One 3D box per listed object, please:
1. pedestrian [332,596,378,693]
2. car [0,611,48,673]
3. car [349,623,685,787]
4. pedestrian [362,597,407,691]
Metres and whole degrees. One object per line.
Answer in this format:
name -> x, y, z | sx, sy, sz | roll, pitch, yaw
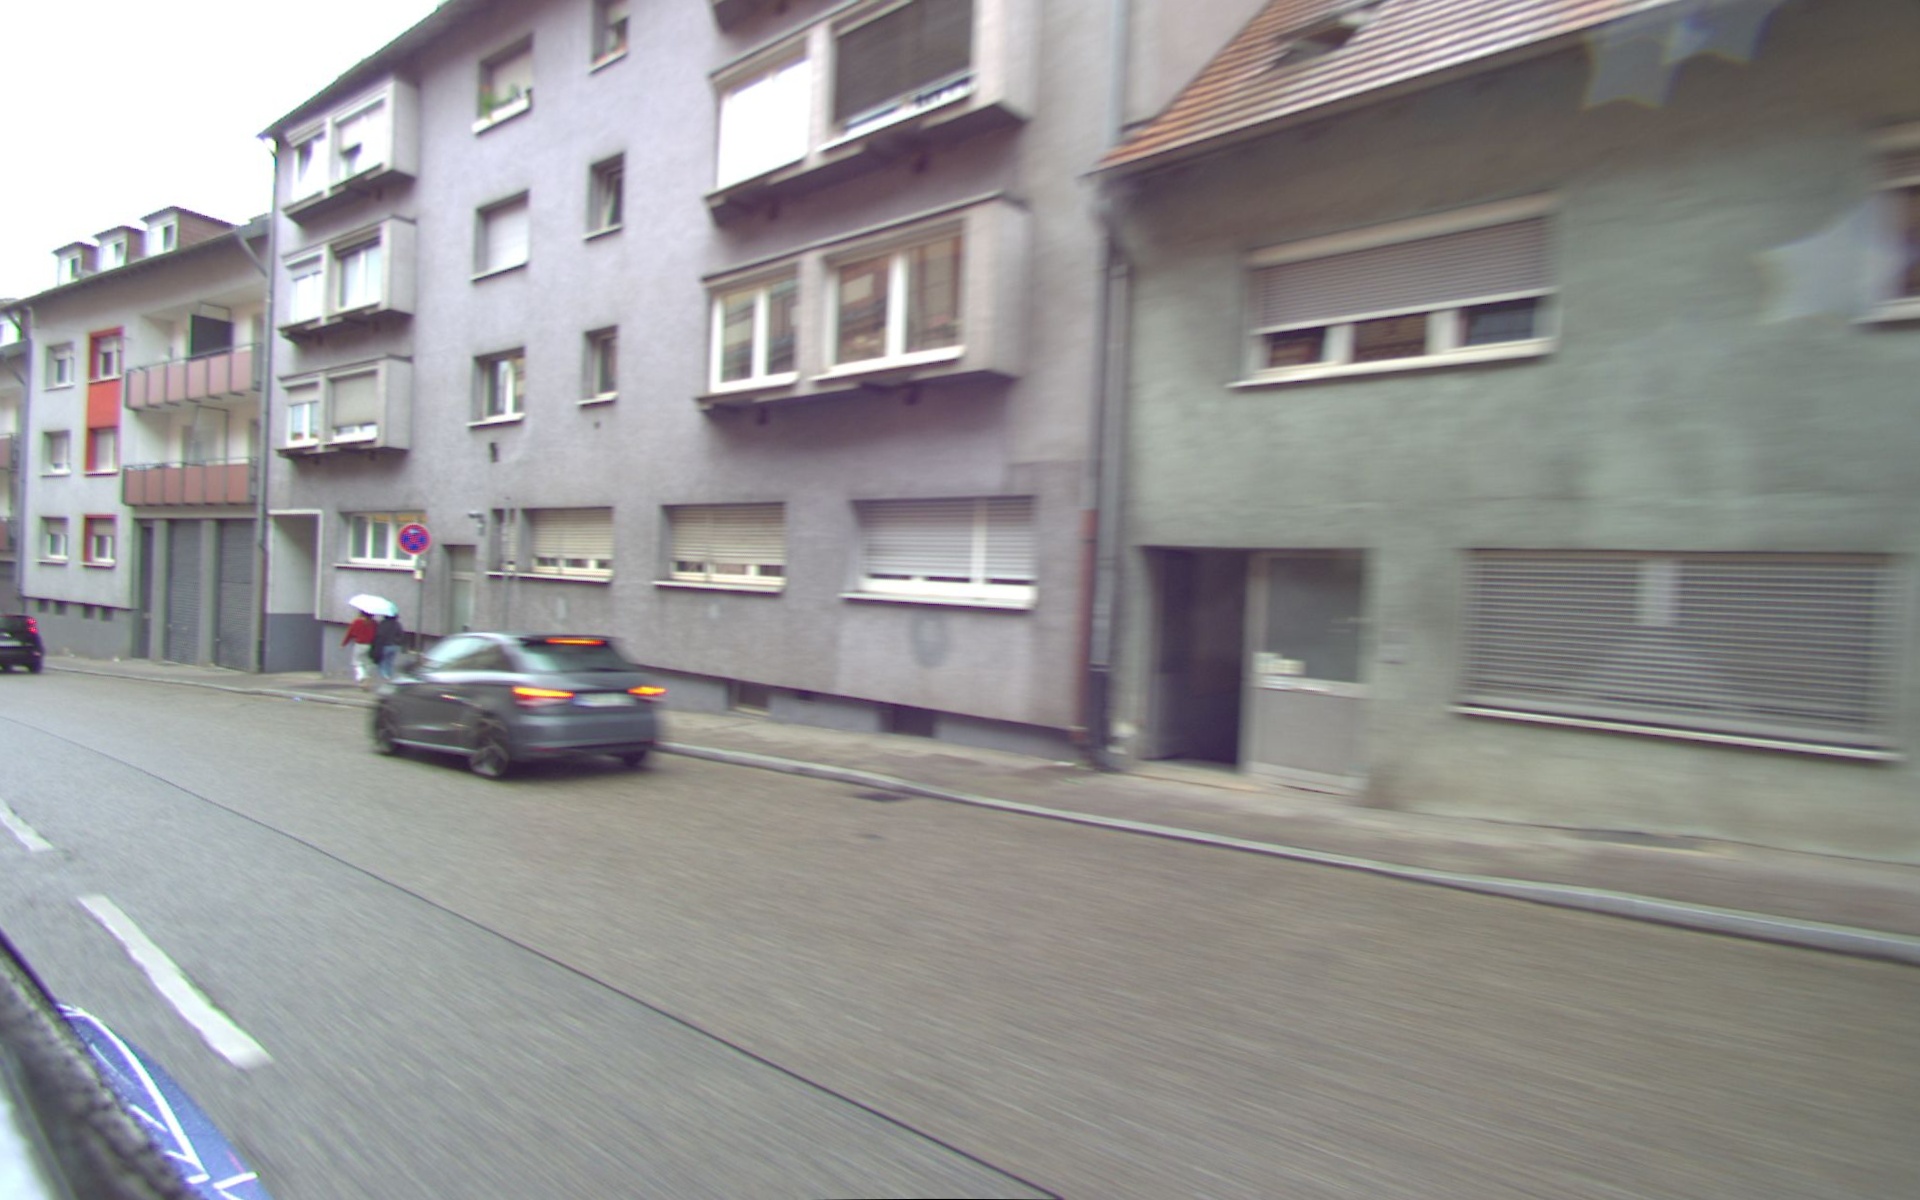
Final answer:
pedestrian -> -11.446, 0.837, 19.151 | 0.621, 1.789, 0.518 | -2, -3, 36
car -> -24.750, 1.056, 25.603 | 3.366, 1.508, 1.631 | -1, -4, 33
car -> -4.699, 0.983, 10.517 | 3.847, 1.389, 1.628 | -2, -5, 40
pedestrian -> -11.129, 0.851, 19.580 | 0.621, 1.789, 0.518 | -2, -3, 36
